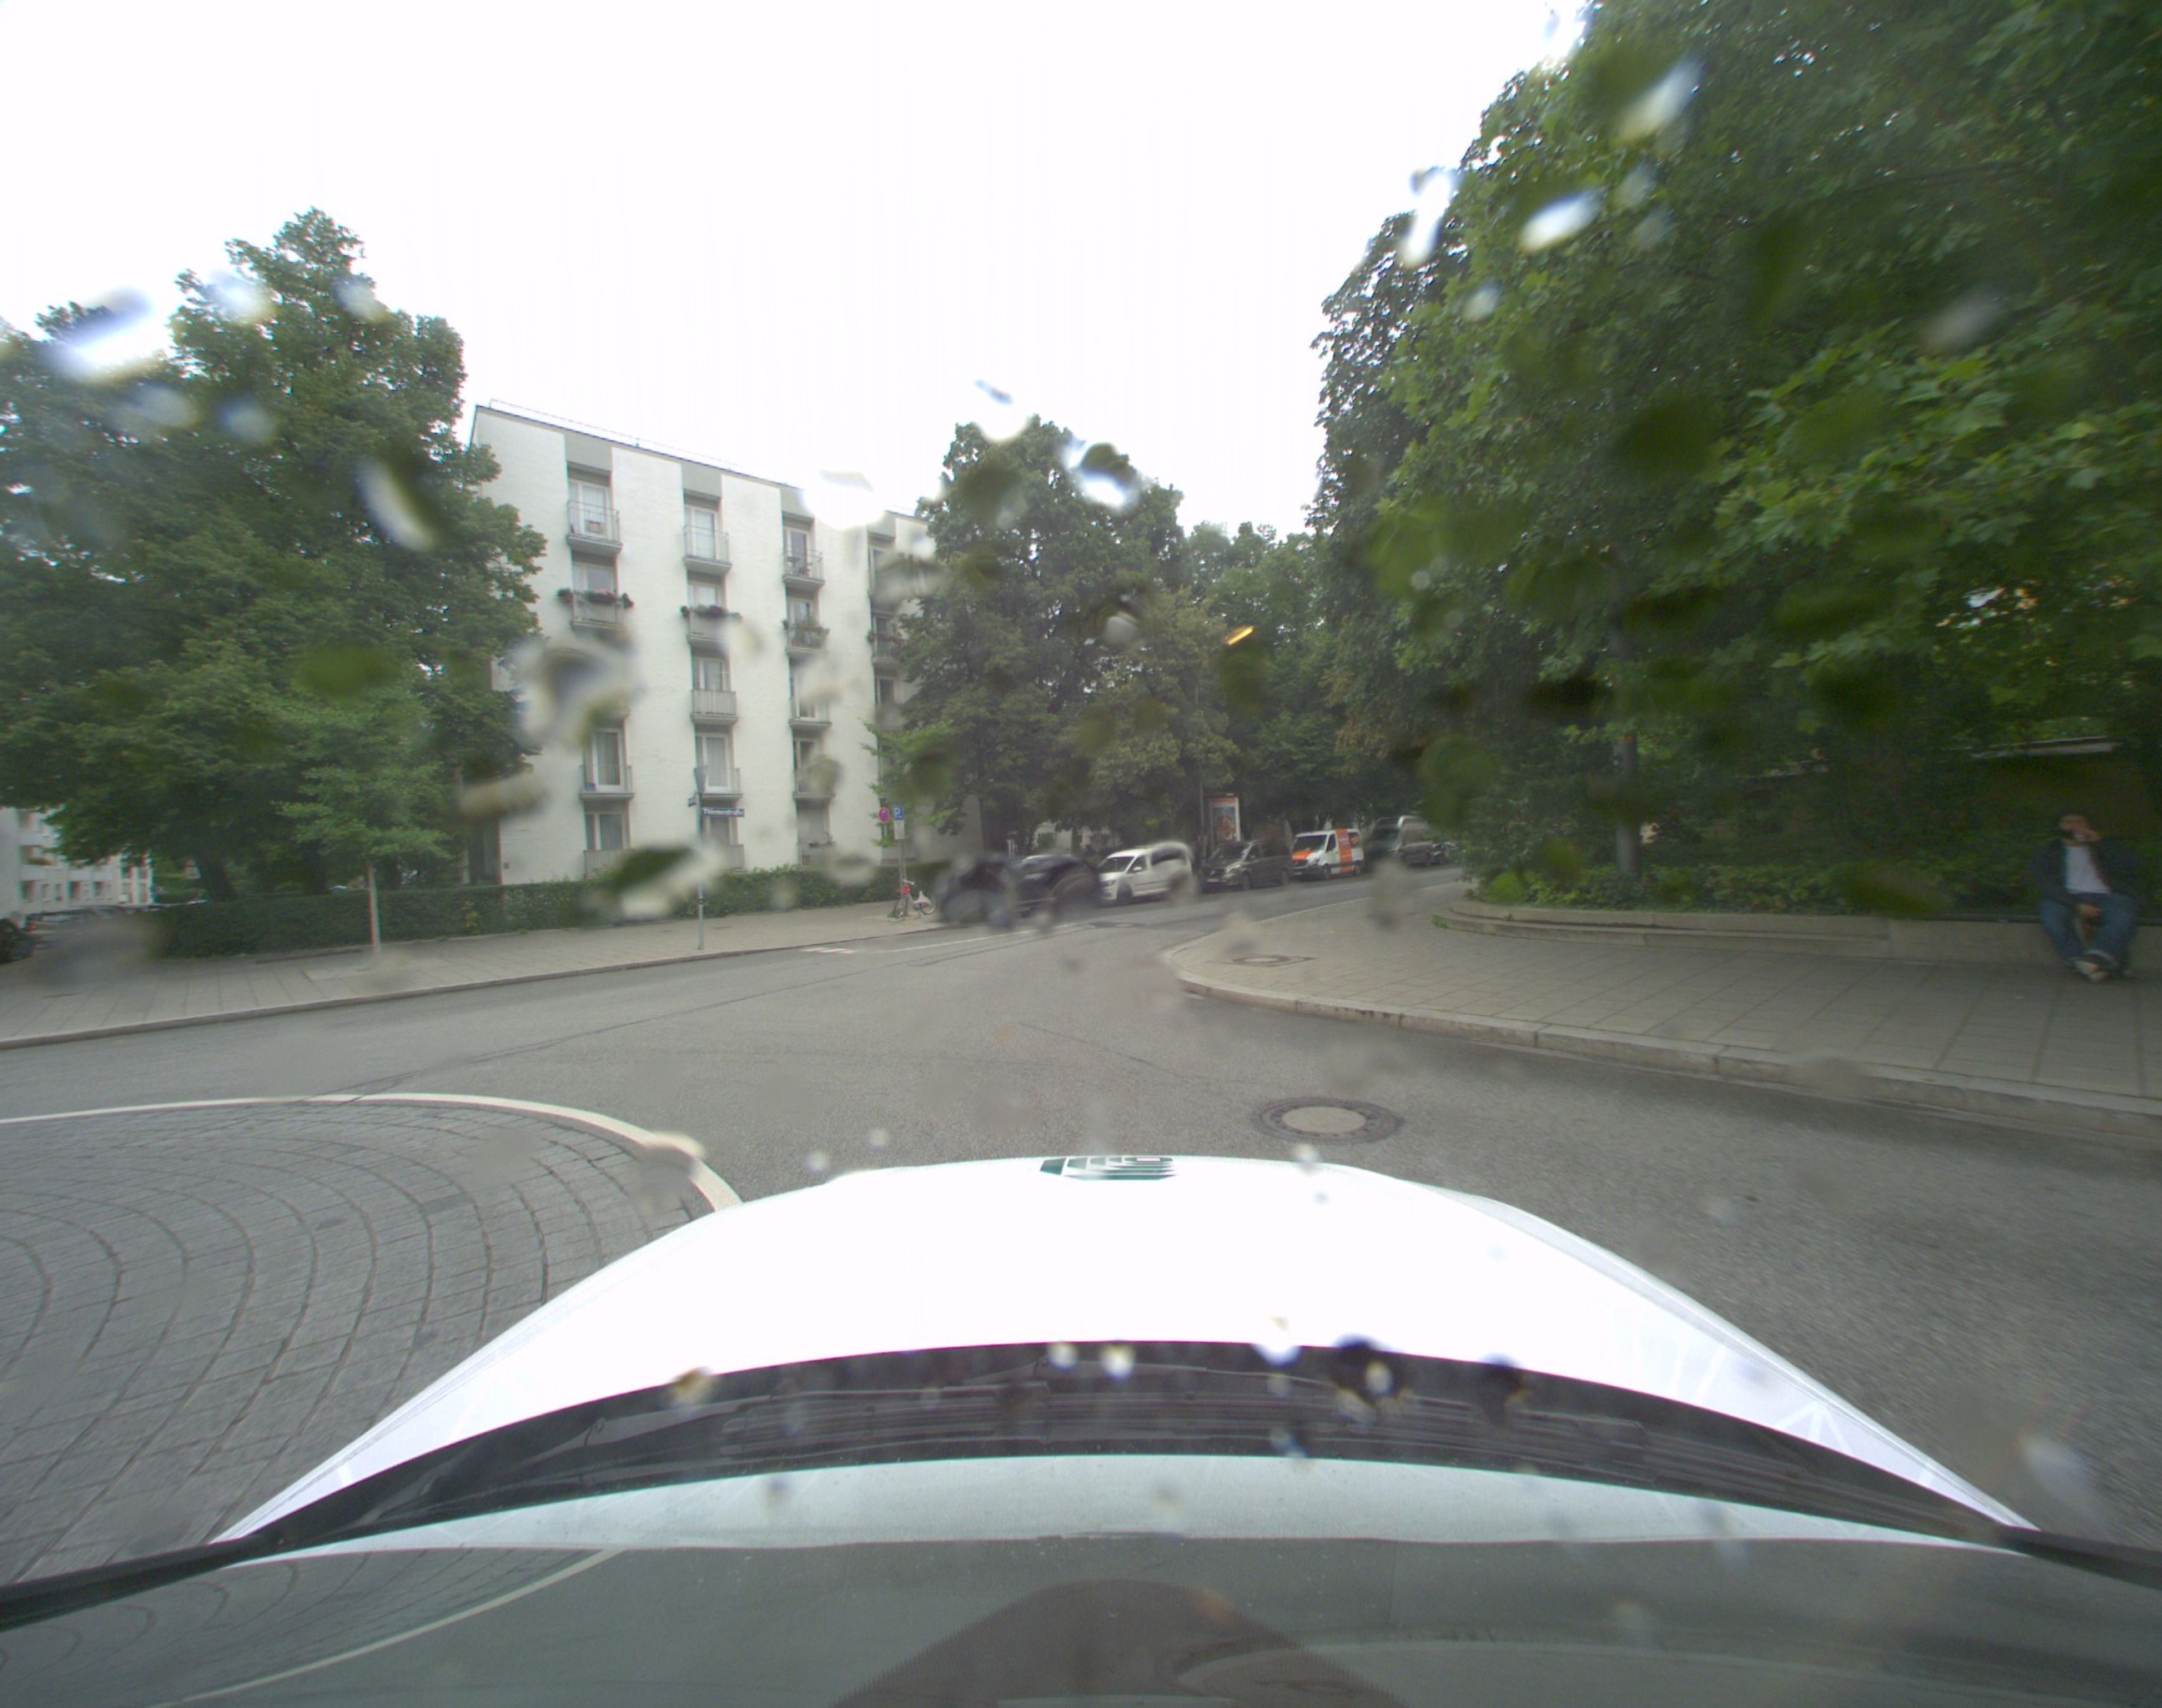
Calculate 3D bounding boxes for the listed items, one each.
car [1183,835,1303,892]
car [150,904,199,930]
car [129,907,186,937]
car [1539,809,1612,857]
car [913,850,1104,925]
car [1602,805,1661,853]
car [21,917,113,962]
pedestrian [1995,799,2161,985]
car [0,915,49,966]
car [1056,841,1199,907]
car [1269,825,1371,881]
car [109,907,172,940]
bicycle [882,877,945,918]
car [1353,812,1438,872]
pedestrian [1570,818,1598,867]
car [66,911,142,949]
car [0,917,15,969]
[{"bbox_3d":[6.600,0.336,32.685,2.006,1.908,5.703,-5,-1,41],"label":"car"},{"bbox_3d":[-61.456,4.219,55.241,1.685,1.456,3.632,-6,2,-41],"label":"car"},{"bbox_3d":[-54.836,3.981,48.409,1.685,1.456,3.632,-6,2,-41],"label":"car"},{"bbox_3d":[22.035,-0.957,36.202,1.893,1.937,5.001,-3,0,41],"label":"car"},{"bbox_3d":[-1.970,0.900,23.620,5.336,1.719,2.064,-3,0,-45],"label":"car"},{"bbox_3d":[32.523,-1.506,48.057,1.975,2.558,5.464,-3,0,43],"label":"car"},{"bbox_3d":[-42.029,3.516,33.852,1.685,1.456,3.632,-6,2,-41],"label":"car"},{"bbox_3d":[8.086,0.263,6.618,1.137,1.356,0.762,-3,0,-38],"label":"pedestrian"},{"bbox_3d":[-34.481,2.794,25.657,1.685,1.456,3.632,-6,2,-41],"label":"car"},{"bbox_3d":[1.674,0.627,27.634,2.064,1.903,4.888,-3,0,44],"label":"car"},{"bbox_3d":[11.215,-0.096,37.960,2.064,2.265,5.637,-5,-1,43],"label":"car"},{"bbox_3d":[-51.518,3.778,44.689,1.685,1.456,3.632,-6,2,-41],"label":"car"},{"bbox_3d":[-4.952,1.275,24.180,0.744,1.085,1.796,-3,0,33],"label":"bicycle"},{"bbox_3d":[17.334,-0.739,44.667,2.152,3.002,6.272,-3,0,42],"label":"car"},{"bbox_3d":[17.552,-0.406,28.411,0.627,1.667,0.701,-3,0,21],"label":"pedestrian"},{"bbox_3d":[-46.954,3.596,39.211,1.685,1.456,3.632,-6,2,-41],"label":"car"},{"bbox_3d":[-30.713,2.568,21.914,1.685,1.456,3.632,-6,2,-41],"label":"car"}]
